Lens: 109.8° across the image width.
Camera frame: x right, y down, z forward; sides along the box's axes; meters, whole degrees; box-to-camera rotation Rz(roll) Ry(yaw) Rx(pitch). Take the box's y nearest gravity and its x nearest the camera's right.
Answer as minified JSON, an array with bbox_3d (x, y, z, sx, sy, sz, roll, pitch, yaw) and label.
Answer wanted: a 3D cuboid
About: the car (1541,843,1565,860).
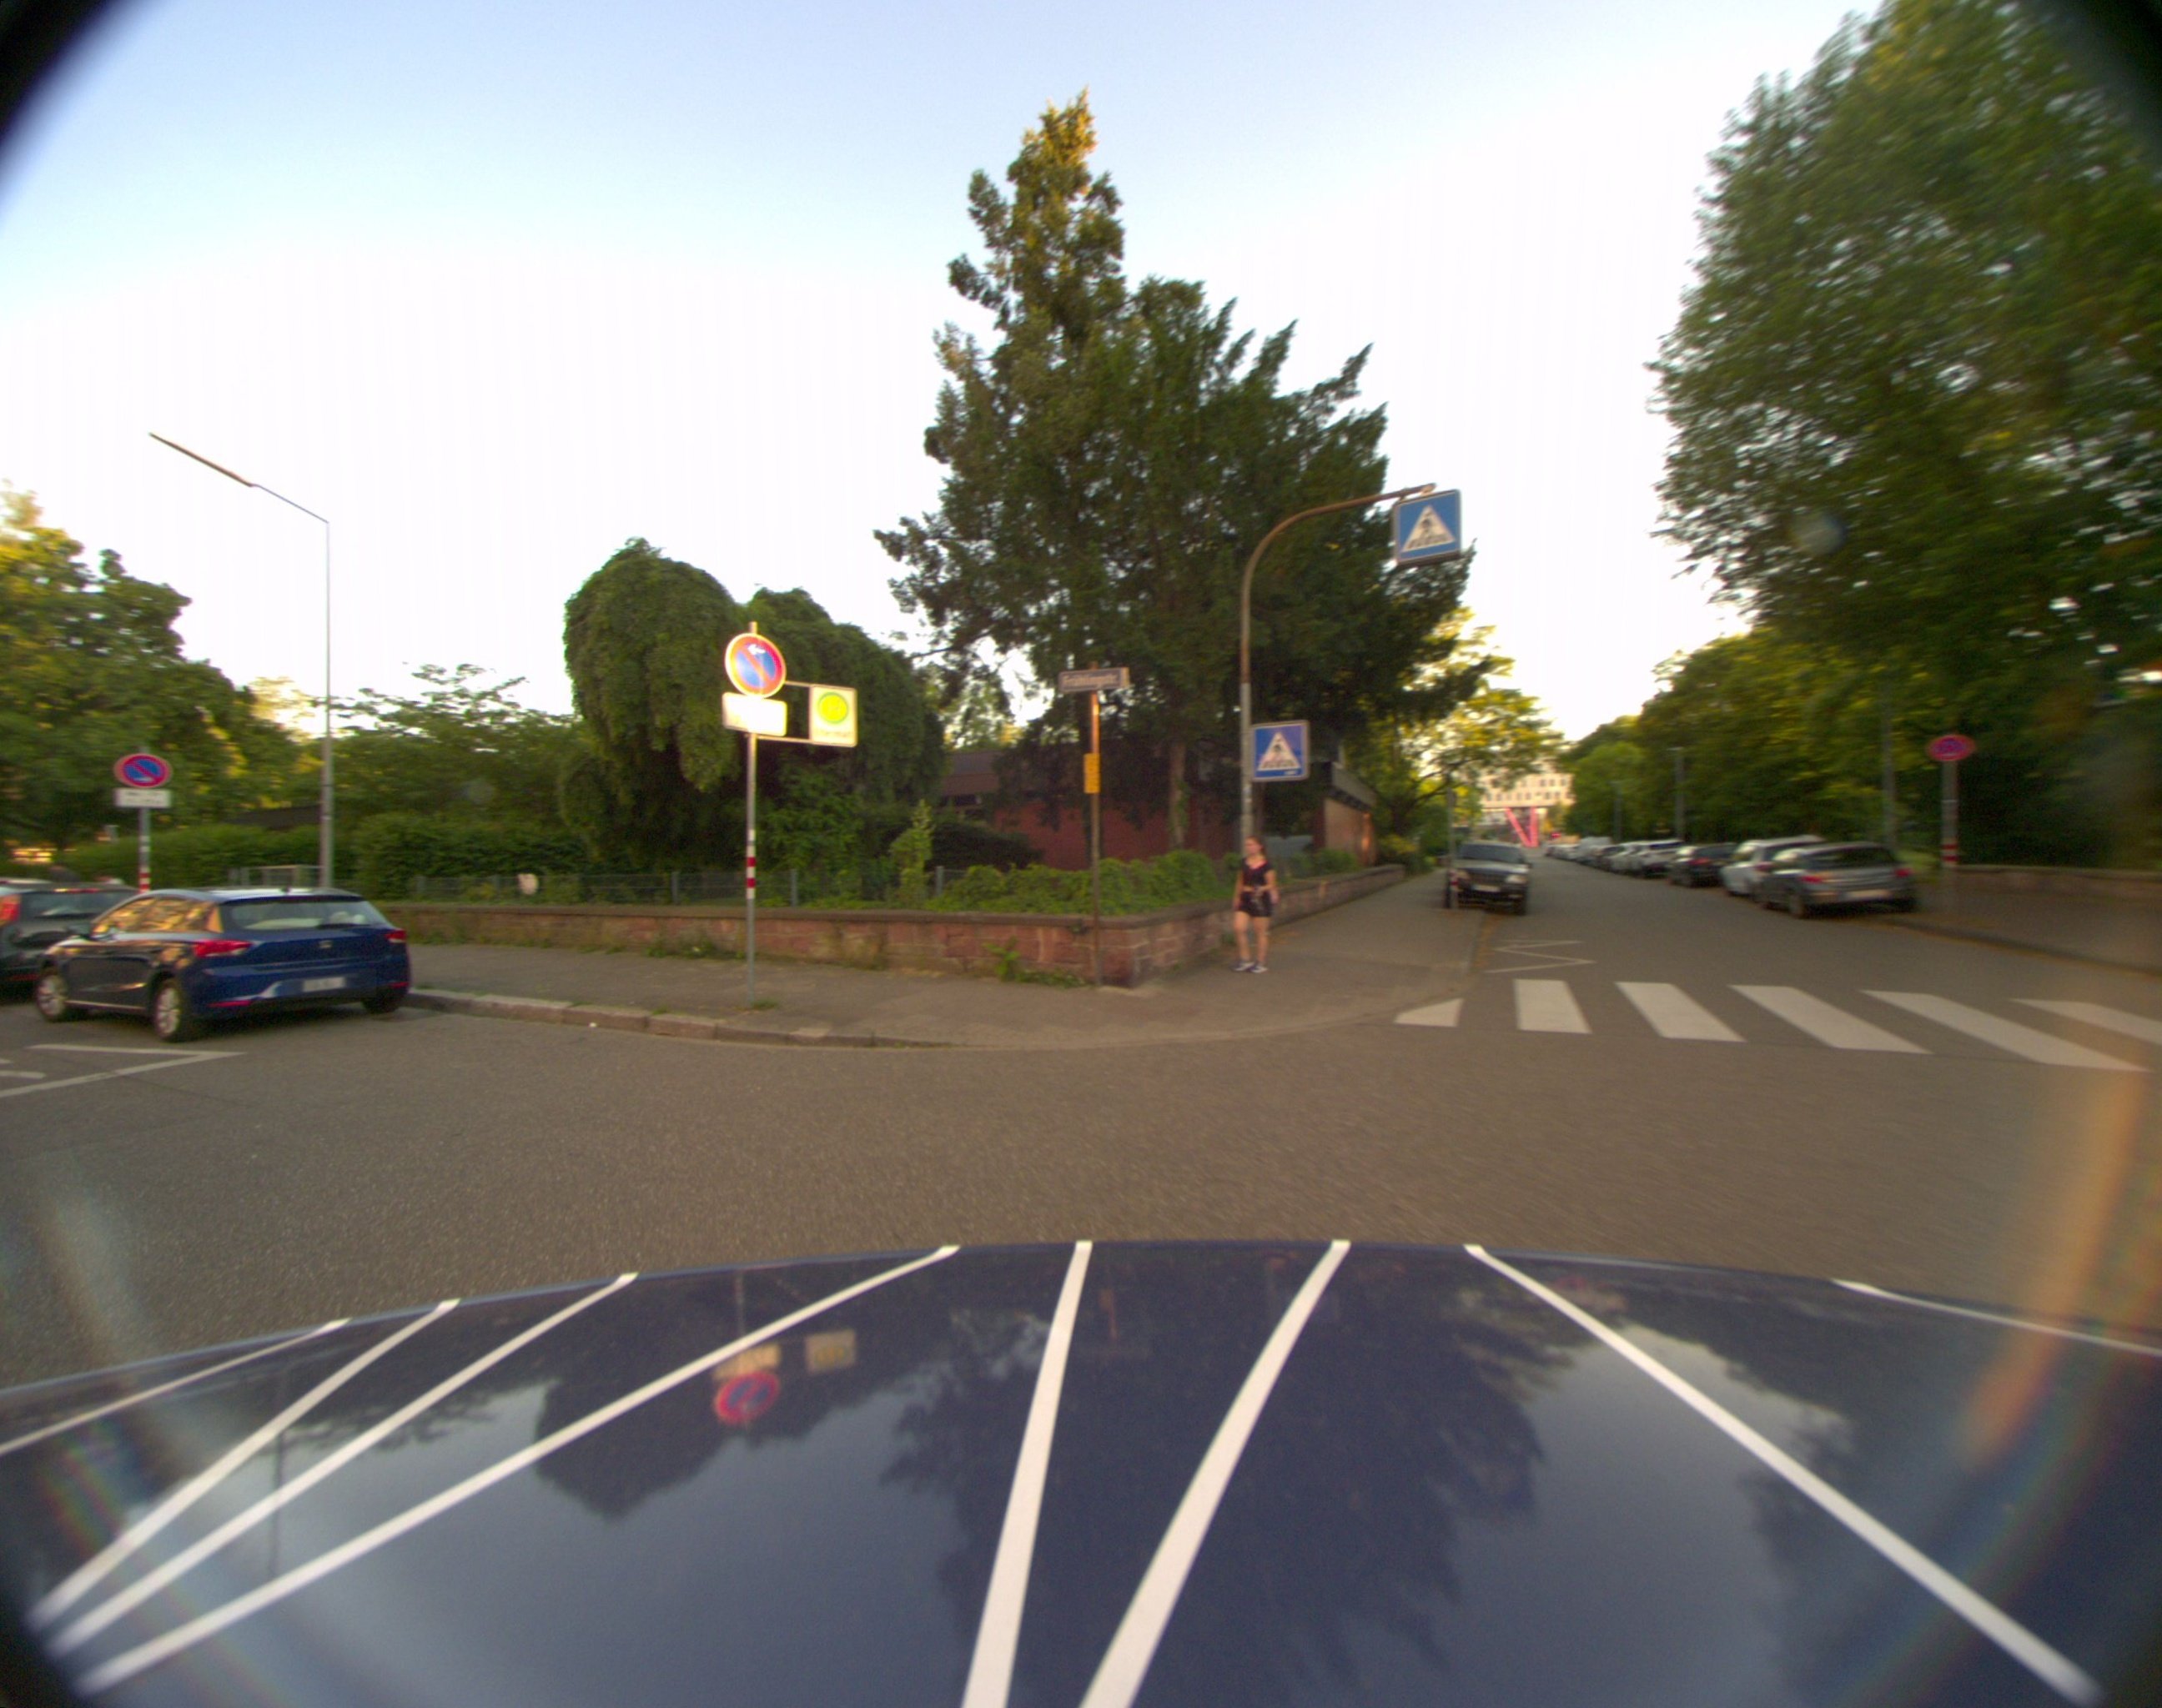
[{"bbox_3d":[55.294,-0.271,89.054,1.784,1.771,4.019,-7,-2,27],"label":"car"}]

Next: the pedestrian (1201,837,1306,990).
[{"bbox_3d":[2.099,0.674,9.245,0.859,1.716,0.827,5,4,41],"label":"pedestrian"}]

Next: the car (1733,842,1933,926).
[{"bbox_3d":[15.688,0.565,16.138,1.784,1.442,3.891,-7,-2,27],"label":"car"}]

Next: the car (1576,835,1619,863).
[{"bbox_3d":[38.491,-0.361,56.724,1.961,1.825,3.891,-7,-2,27],"label":"car"}]

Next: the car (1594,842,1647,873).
[{"bbox_3d":[30.716,0.180,43.366,1.784,1.562,3.891,-7,-2,27],"label":"car"}]

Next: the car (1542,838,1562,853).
[{"bbox_3d":[64.274,-1.183,103.763,1.784,1.771,4.019,-7,-2,26],"label":"car"}]

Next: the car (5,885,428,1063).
[{"bbox_3d":[-9.159,1.106,8.087,3.781,1.476,1.726,-1,0,21],"label":"car"}]

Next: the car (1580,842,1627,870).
[{"bbox_3d":[33.224,0.102,48.395,1.784,1.562,3.891,-7,-2,27],"label":"car"}]

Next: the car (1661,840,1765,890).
[{"bbox_3d":[21.646,0.351,26.209,1.784,1.467,3.891,-7,-2,27],"label":"car"}]

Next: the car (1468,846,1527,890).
[{"bbox_3d":[15.897,0.479,29.143,1.782,1.491,3.891,3,2,27],"label":"car"}]

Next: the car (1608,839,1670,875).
[{"bbox_3d":[28.530,0.135,38.944,1.784,1.562,3.891,-7,-2,27],"label":"car"}]

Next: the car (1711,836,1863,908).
[{"bbox_3d":[18.377,0.431,20.005,1.784,1.567,3.891,-7,-2,27],"label":"car"}]

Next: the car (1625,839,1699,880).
[{"bbox_3d":[25.598,0.232,33.619,1.784,1.562,3.891,-7,-2,27],"label":"car"}]

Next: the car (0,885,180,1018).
[{"bbox_3d":[-13.865,1.180,10.068,3.502,1.476,1.537,-1,0,24],"label":"car"}]

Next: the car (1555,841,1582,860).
[{"bbox_3d":[51.142,-0.333,79.789,1.784,1.784,3.891,-7,-2,27],"label":"car"}]

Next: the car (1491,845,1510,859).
[{"bbox_3d":[53.903,-0.253,97.640,1.995,1.739,4.007,-2,0,27],"label":"car"}]

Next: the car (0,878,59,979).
[{"bbox_3d":[-18.634,1.207,12.473,3.121,1.576,1.537,-1,0,24],"label":"car"}]

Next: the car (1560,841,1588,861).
[{"bbox_3d":[48.964,-0.284,75.495,1.784,1.719,3.891,-7,-2,27],"label":"car"}]

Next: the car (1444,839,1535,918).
[{"bbox_3d":[10.130,0.524,19.015,1.782,1.744,3.891,2,1,27],"label":"car"}]

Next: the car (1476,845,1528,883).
[{"bbox_3d":[18.681,0.395,33.834,1.782,1.491,3.891,3,2,27],"label":"car"}]

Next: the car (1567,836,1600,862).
[{"bbox_3d":[43.737,-0.396,66.174,1.784,2.024,3.891,-7,-2,27],"label":"car"}]
